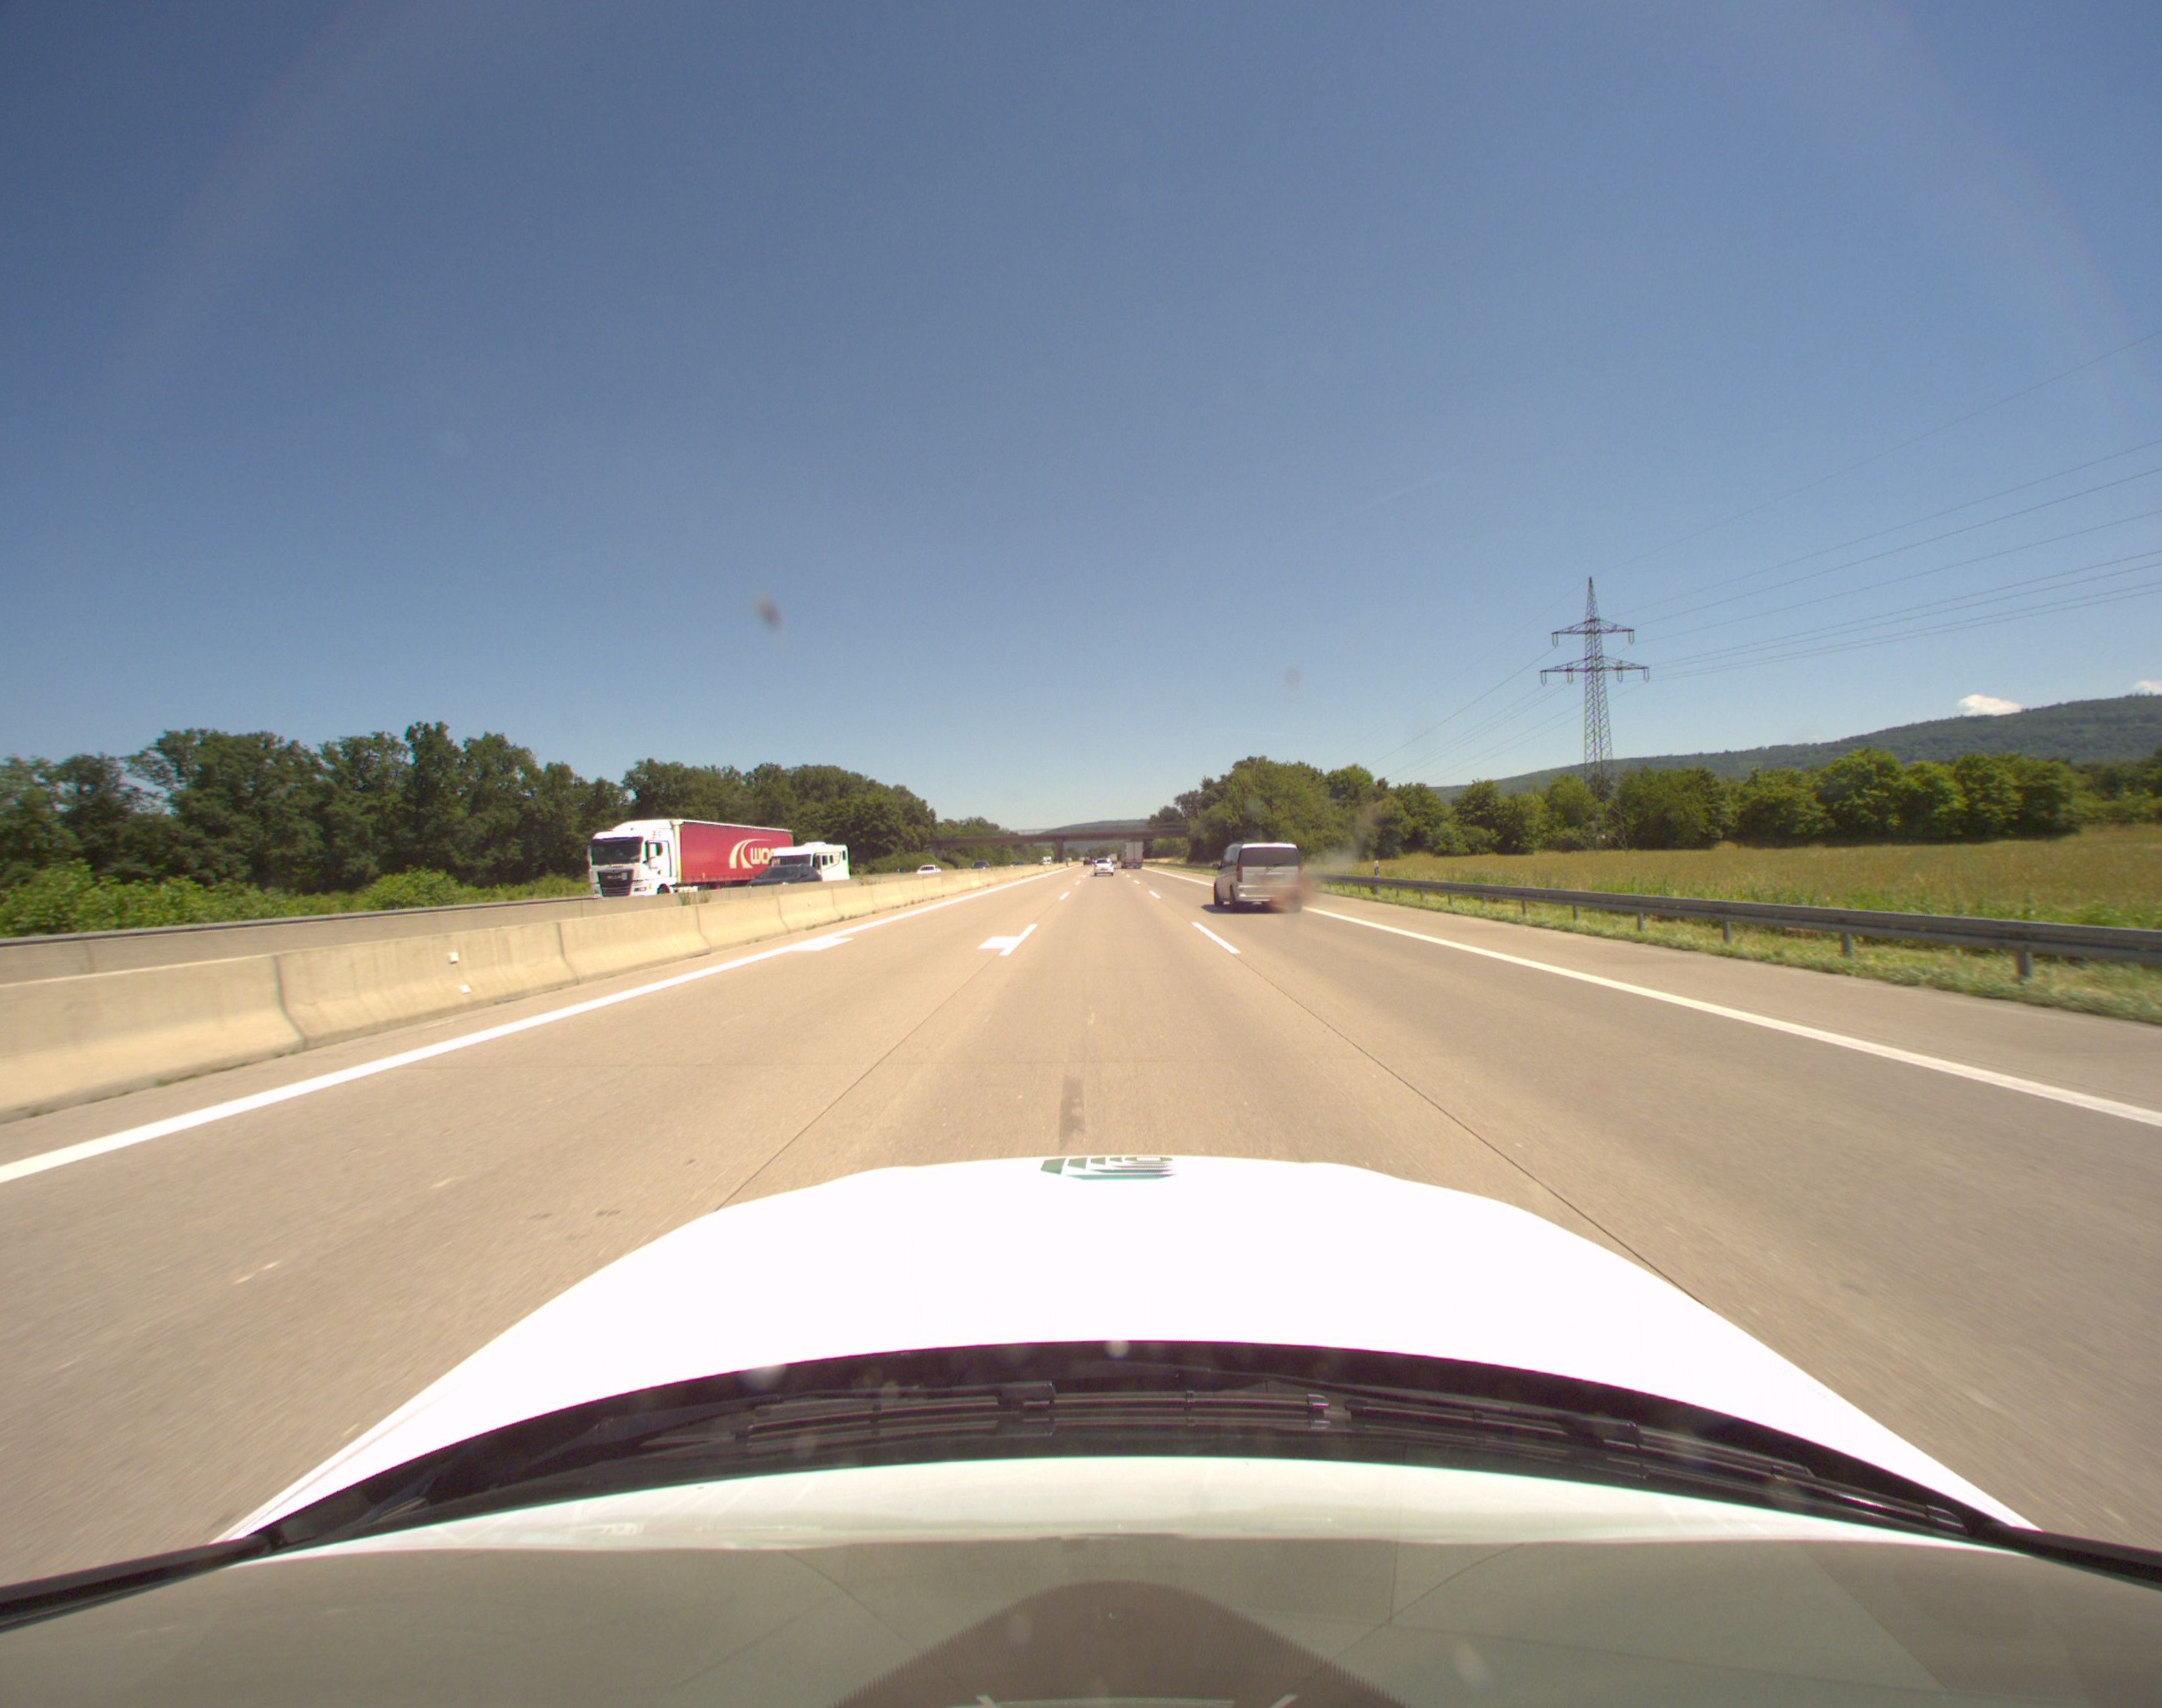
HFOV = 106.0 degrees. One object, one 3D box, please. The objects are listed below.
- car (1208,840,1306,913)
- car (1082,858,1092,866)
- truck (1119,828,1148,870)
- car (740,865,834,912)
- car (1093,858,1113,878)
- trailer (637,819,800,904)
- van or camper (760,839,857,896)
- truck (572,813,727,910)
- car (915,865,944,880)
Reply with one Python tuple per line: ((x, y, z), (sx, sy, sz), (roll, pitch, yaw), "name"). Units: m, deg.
((5.055, 0.605, 24.094), (1.872, 1.889, 5.281), (-1, 0, 2), "car")
((1.271, 1.690, 178.675), (2.016, 1.701, 3.998), (0, -1, -1), "car")
((7.812, -0.595, 122.775), (3.564, 5.787, 18.253), (-1, 0, 2), "truck")
((-11.263, 1.273, 31.531), (1.787, 1.555, 4.603), (-2, 0, 2), "car")
((1.925, 1.189, 71.387), (1.635, 1.662, 3.361), (0, 0, 1), "car")
((-19.376, 0.373, 44.935), (2.988, 3.982, 12.346), (-2, 0, 2), "trailer")
((-15.309, 0.706, 46.469), (2.516, 2.890, 7.940), (-2, 0, 2), "van or camper")
((-19.636, 0.328, 37.703), (2.988, 3.982, 7.297), (-2, 0, 2), "truck")
((-14.239, 1.696, 76.850), (1.681, 1.263, 4.793), (-2, 0, 2), "car")
